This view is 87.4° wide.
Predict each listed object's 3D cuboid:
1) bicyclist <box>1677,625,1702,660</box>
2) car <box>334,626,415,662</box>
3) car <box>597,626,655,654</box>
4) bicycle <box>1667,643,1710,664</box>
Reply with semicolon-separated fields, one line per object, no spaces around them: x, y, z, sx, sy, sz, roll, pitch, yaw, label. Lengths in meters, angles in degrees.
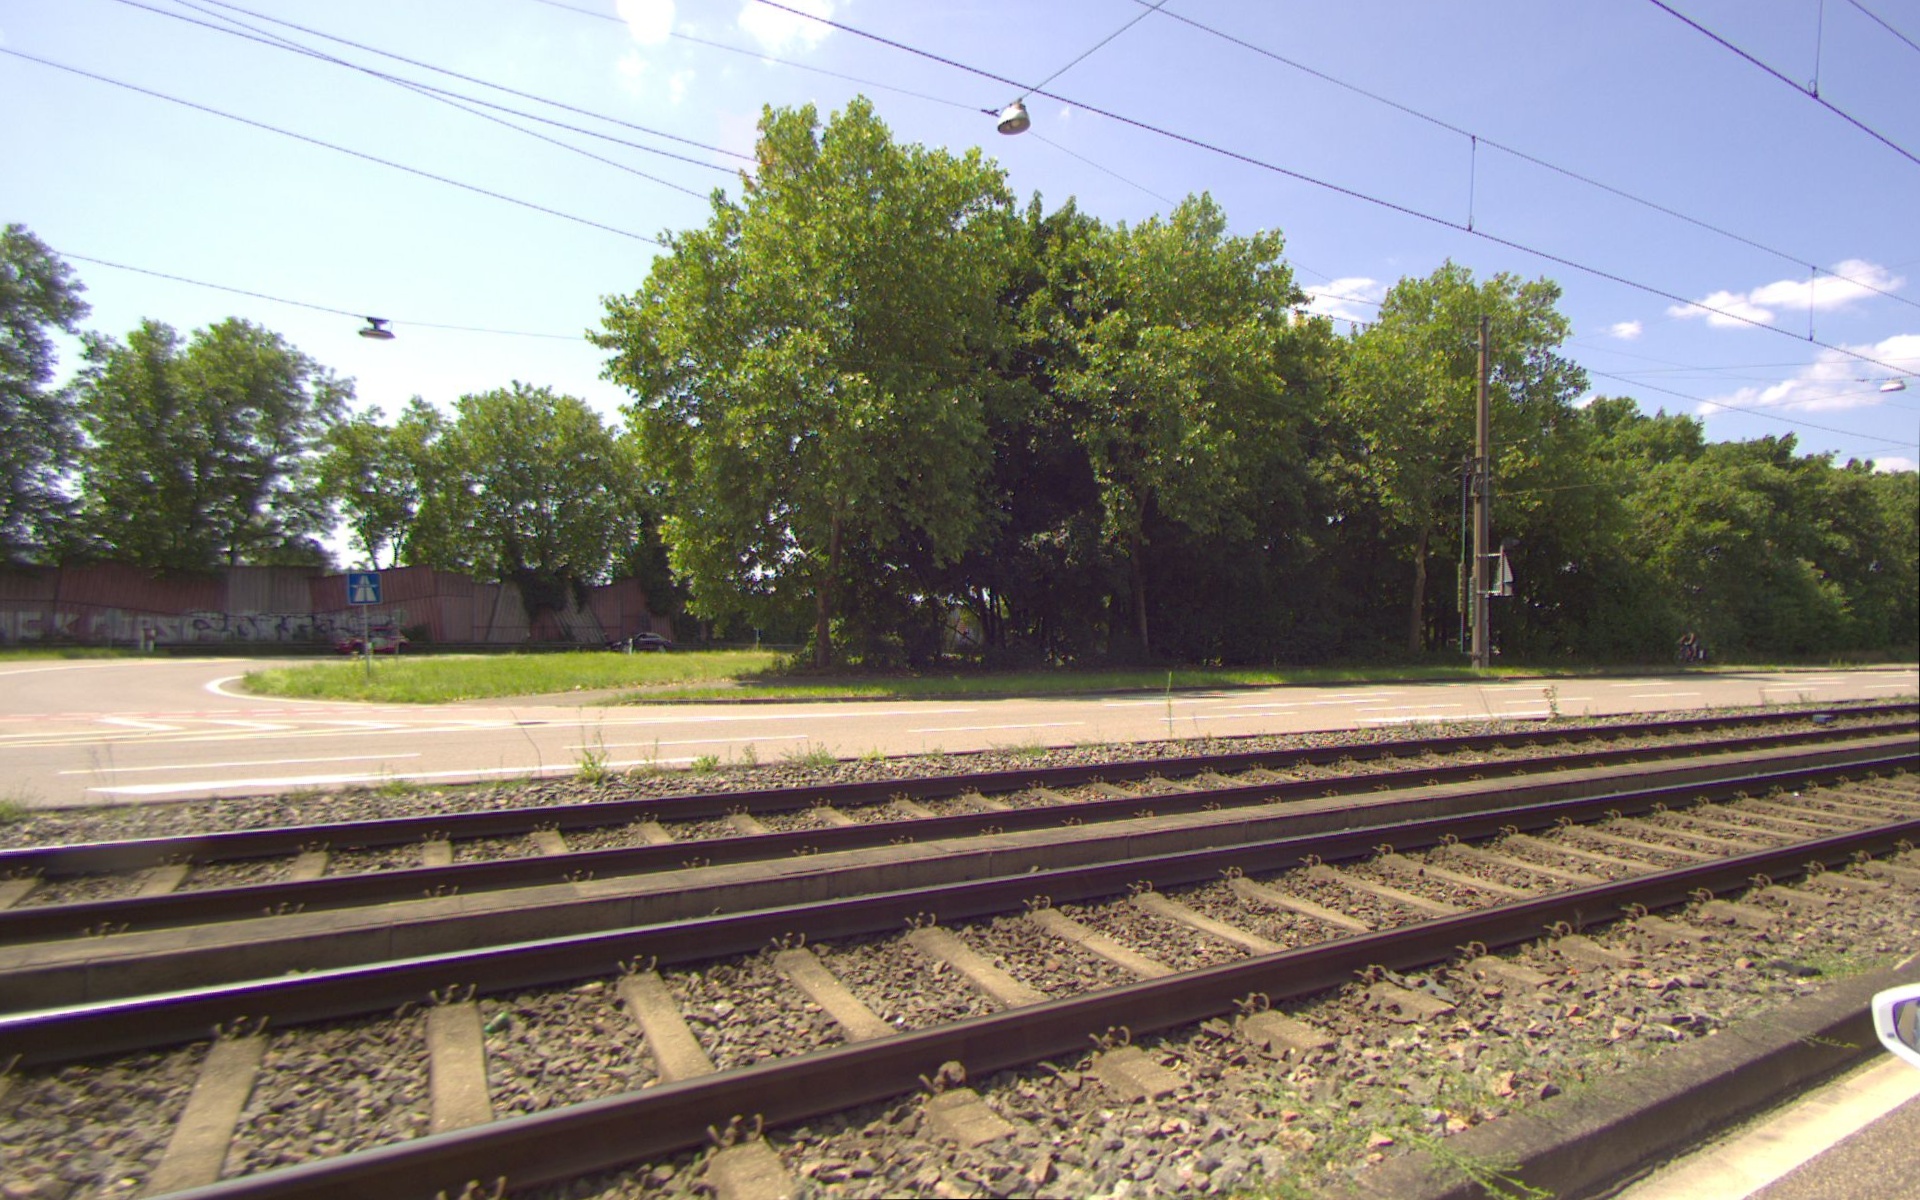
30.213;1.765;41.599;0.623;1.386;0.566;2;0;-27;bicyclist
-31.099;2.304;53.439;1.539;1.815;3.388;0;-1;35;car
-22.095;2.610;66.446;1.539;1.815;3.388;0;-1;35;car
30.158;2.223;41.565;2.042;0.829;0.584;2;-2;-27;bicycle
